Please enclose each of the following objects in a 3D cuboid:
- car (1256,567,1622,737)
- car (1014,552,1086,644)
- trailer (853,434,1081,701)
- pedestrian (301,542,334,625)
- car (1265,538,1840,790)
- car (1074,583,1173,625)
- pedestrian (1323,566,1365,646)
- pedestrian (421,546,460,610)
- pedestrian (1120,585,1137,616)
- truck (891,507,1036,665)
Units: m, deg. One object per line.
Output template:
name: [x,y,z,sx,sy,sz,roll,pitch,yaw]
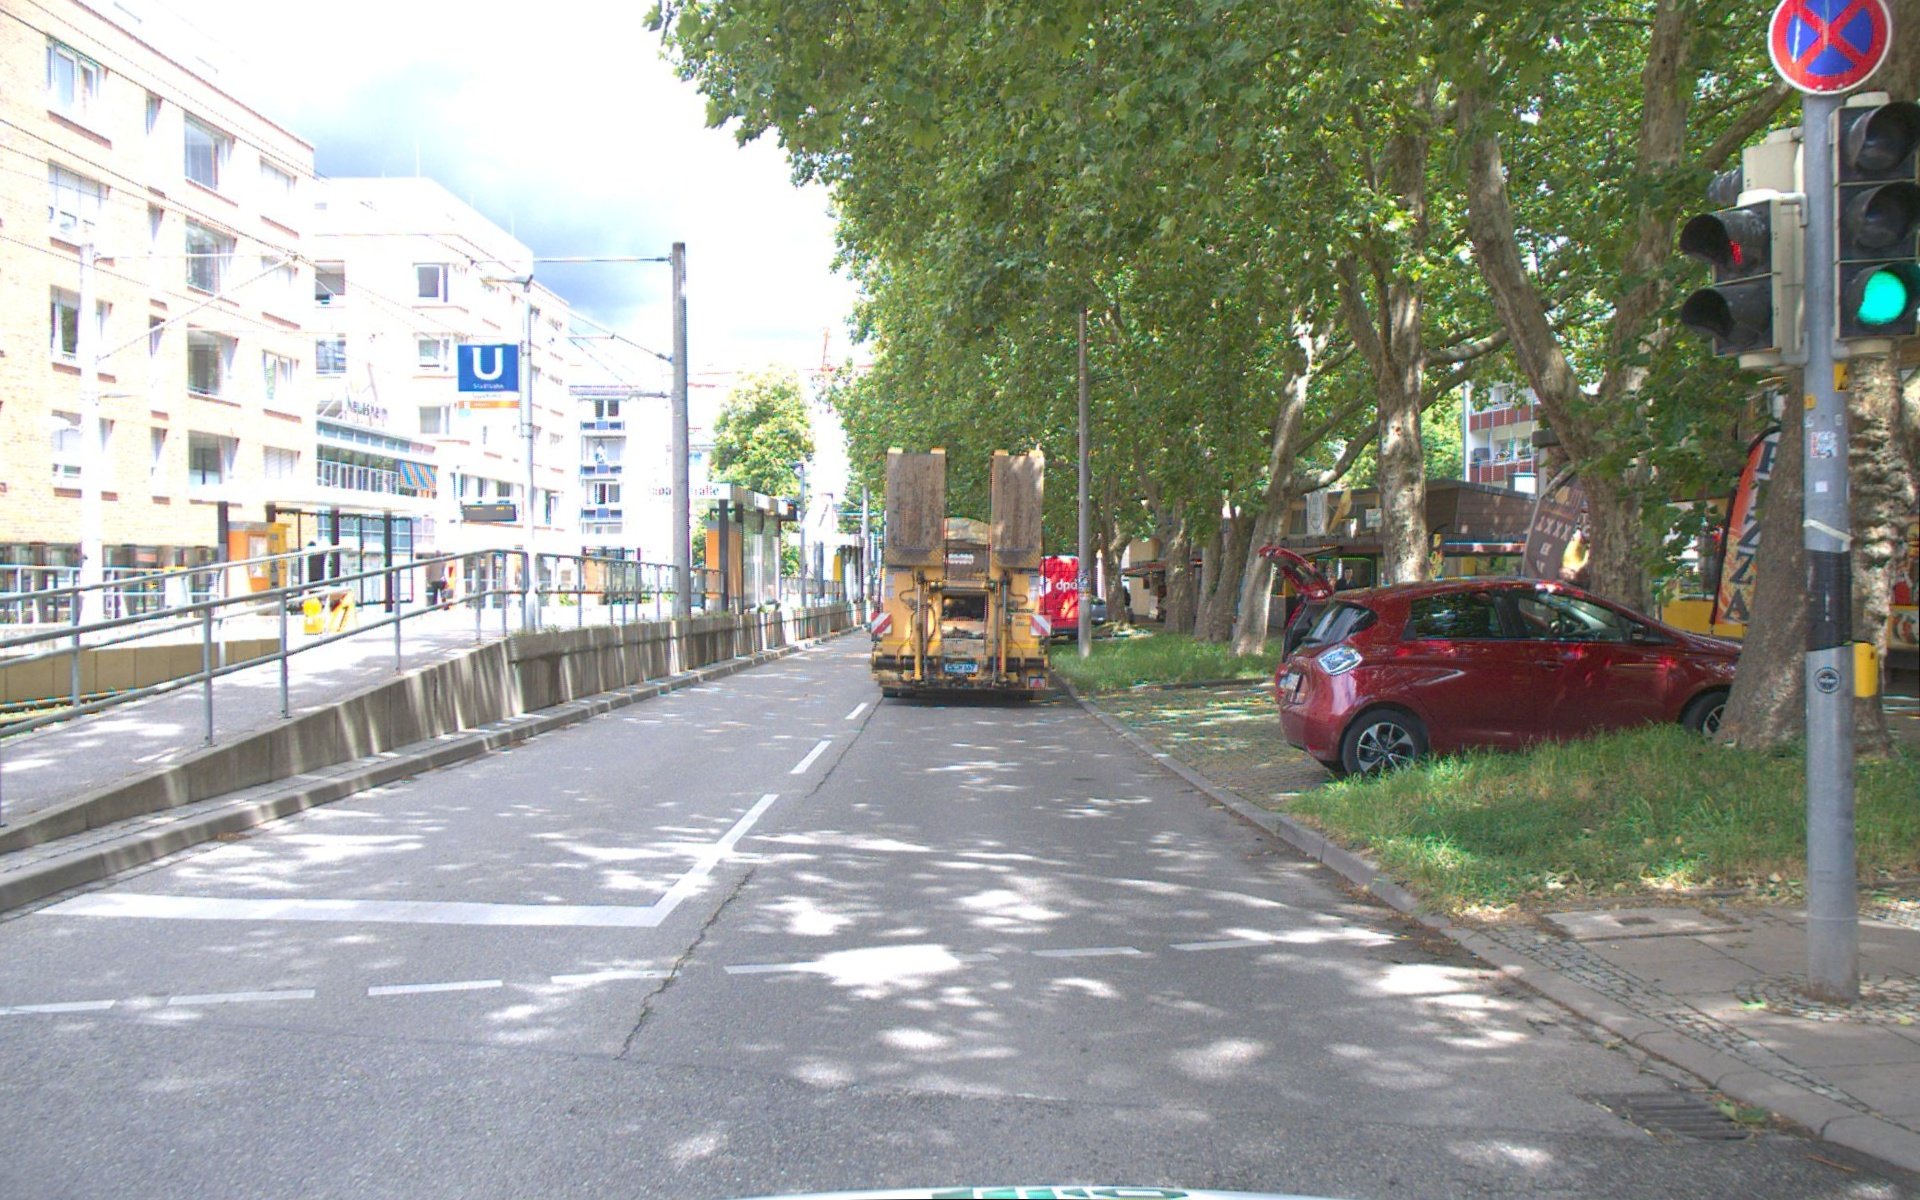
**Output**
car: [5.034,0.523,17.641,3.340,1.541,1.609,-3,0,-4]
car: [2.741,-0.063,51.913,1.865,2.626,6.834,-2,0,0]
trailer: [0.095,-0.459,28.221,3.089,3.615,11.096,1,0,0]
pedestrian: [-13.987,-0.354,36.028,0.523,1.794,0.528,0,0,-3]
car: [4.608,0.479,13.318,3.946,1.639,1.731,-4,0,2]
car: [6.655,0.154,67.470,3.756,1.589,1.617,-1,0,-7]
pedestrian: [9.334,0.148,40.239,0.728,1.916,0.941,-2,-1,0]
pedestrian: [-13.733,-0.570,43.756,0.736,1.657,0.816,1,0,0]
pedestrian: [7.789,0.041,76.623,0.681,1.416,0.512,-1,0,-4]
truck: [0.112,-0.290,37.754,2.928,3.190,7.888,1,0,0]
